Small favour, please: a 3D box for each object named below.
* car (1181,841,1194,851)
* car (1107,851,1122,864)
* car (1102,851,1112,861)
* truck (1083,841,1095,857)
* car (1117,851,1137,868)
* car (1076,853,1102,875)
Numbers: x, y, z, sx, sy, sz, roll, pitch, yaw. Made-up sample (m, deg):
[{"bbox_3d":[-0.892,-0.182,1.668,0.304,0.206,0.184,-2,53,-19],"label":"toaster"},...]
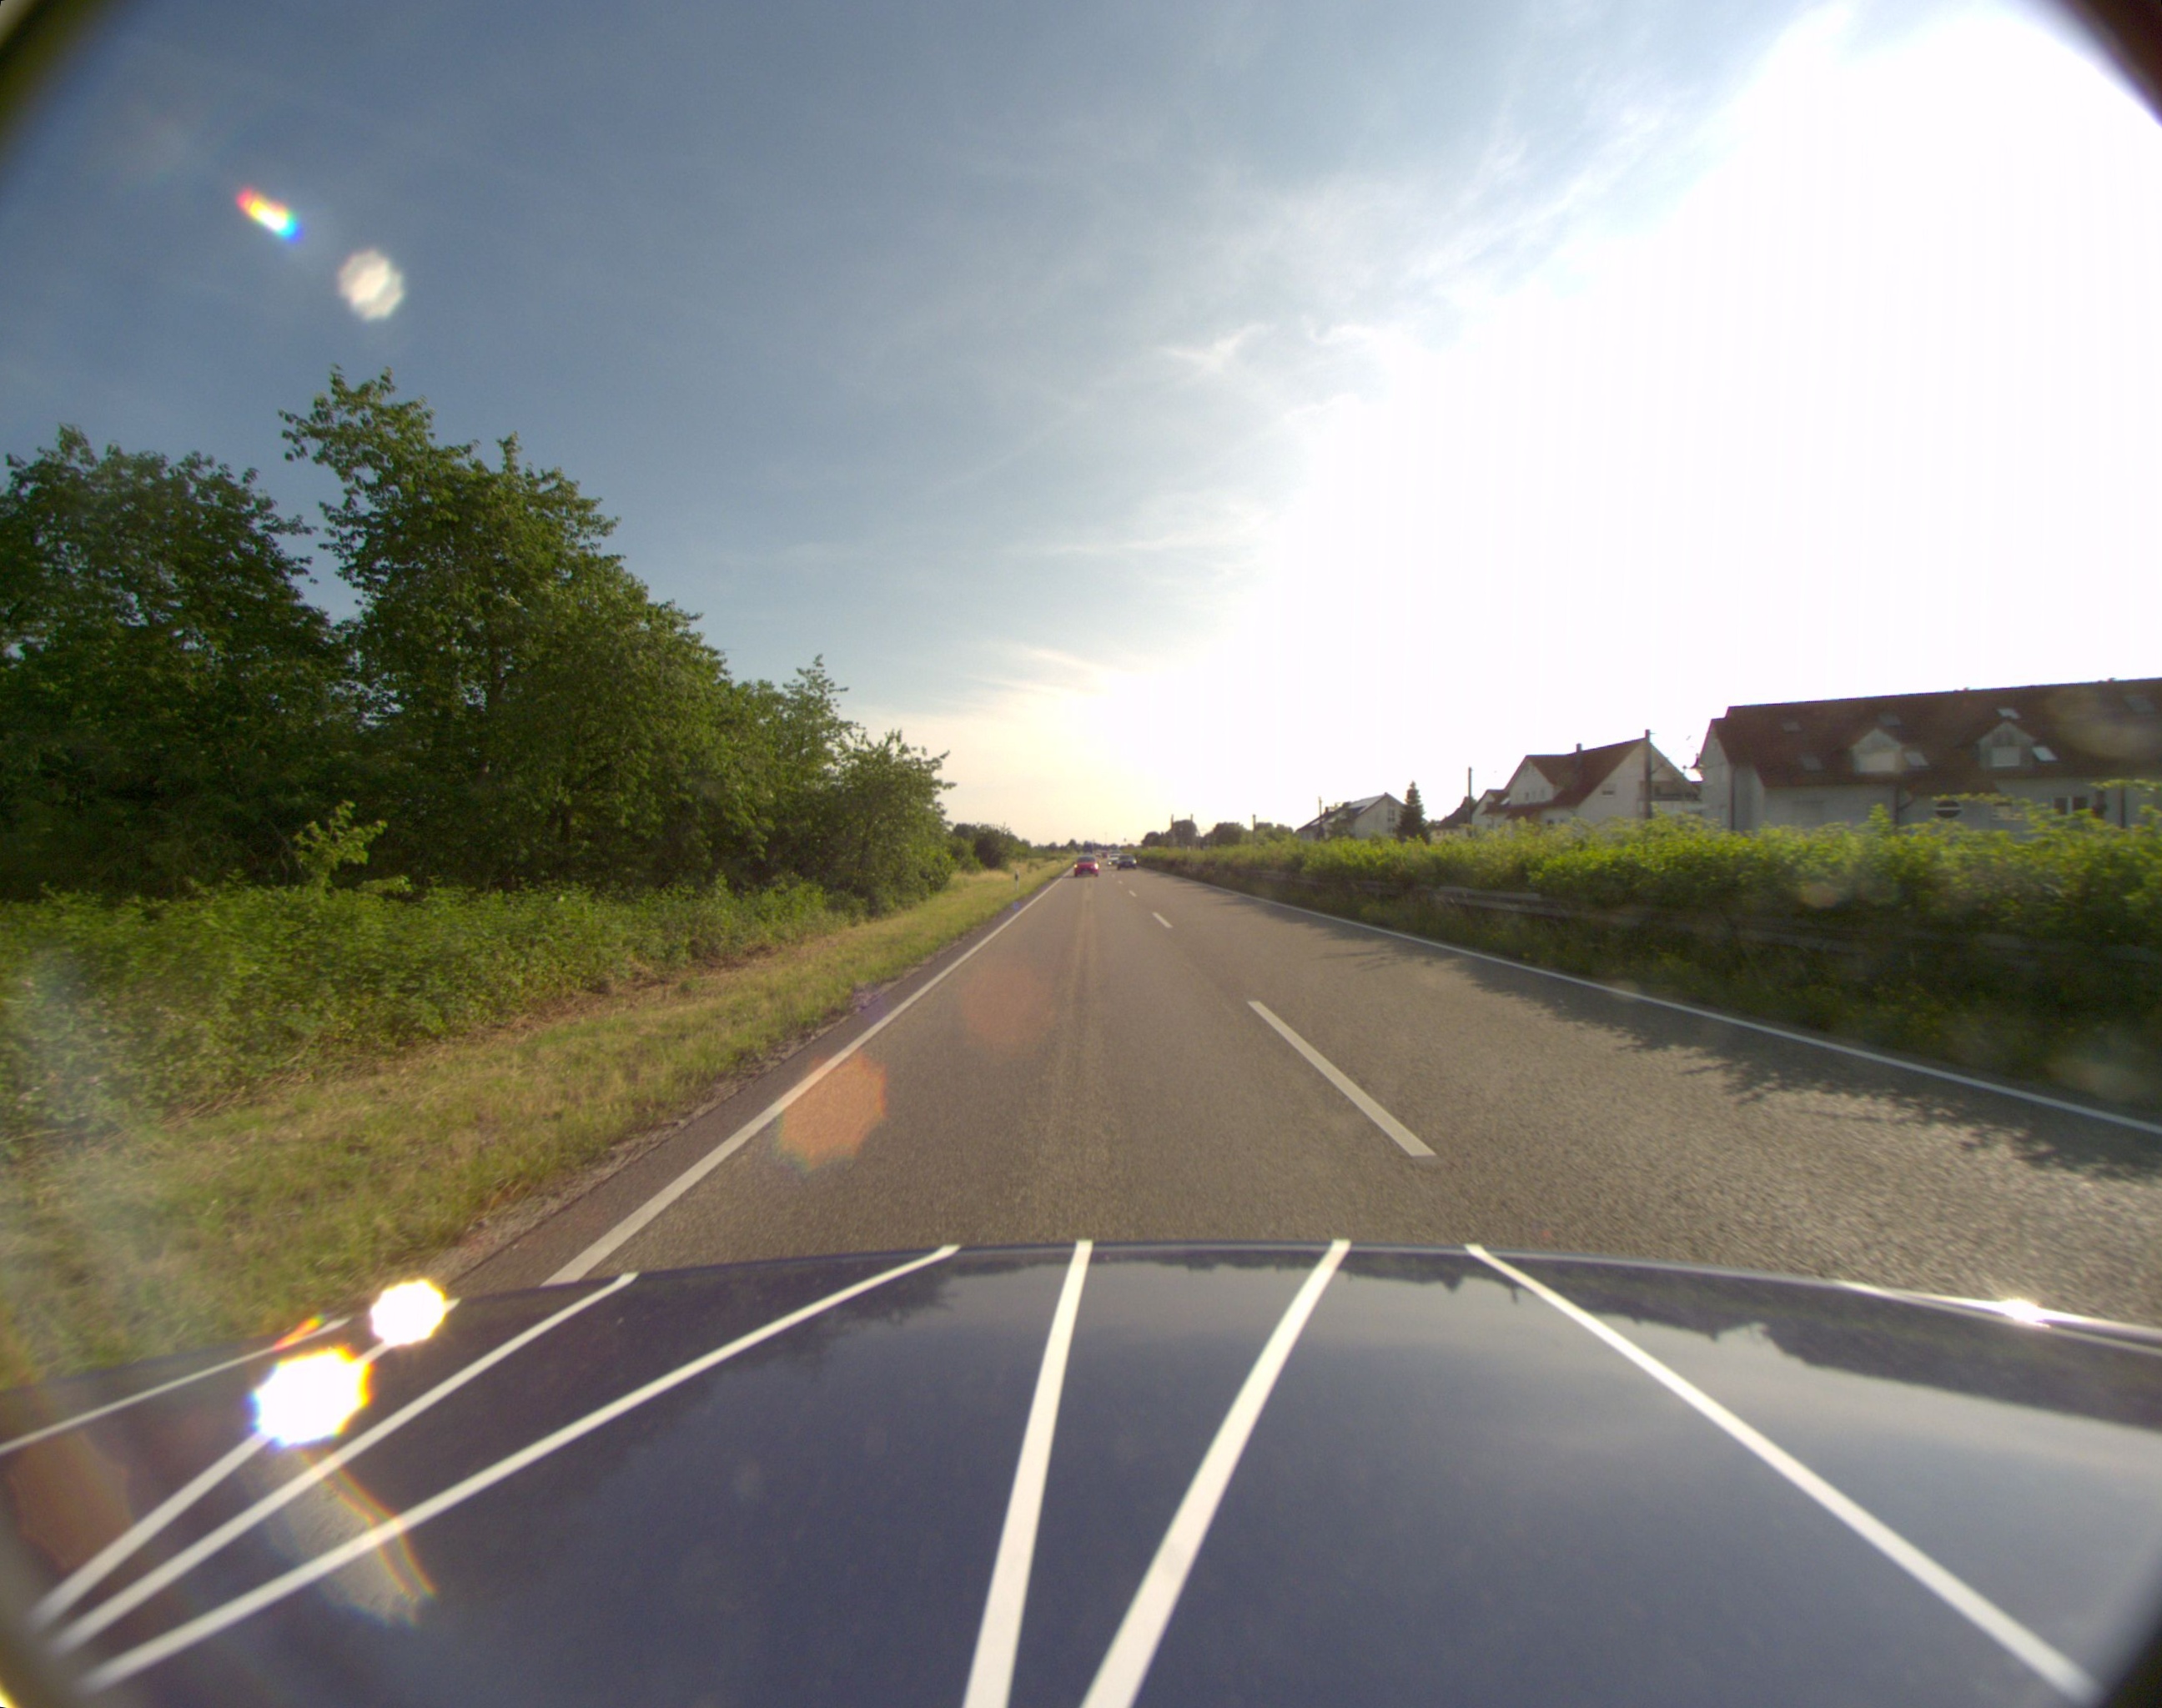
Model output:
[{"bbox_3d":[20.960,-1.607,150.036,1.998,1.740,4.000,-2,1,1],"label":"car"},{"bbox_3d":[4.191,0.404,95.265,1.636,1.442,4.000,-2,1,1],"label":"car"},{"bbox_3d":[5.856,0.445,170.836,1.998,2.002,4.000,-2,0,1],"label":"car"},{"bbox_3d":[2.221,-1.341,202.044,2.849,3.897,10.103,-2,1,1],"label":"truck"},{"bbox_3d":[4.295,0.470,71.263,1.636,1.500,4.000,-2,1,1],"label":"car"},{"bbox_3d":[0.582,0.691,54.590,1.735,1.467,4.000,-2,1,1],"label":"car"}]
